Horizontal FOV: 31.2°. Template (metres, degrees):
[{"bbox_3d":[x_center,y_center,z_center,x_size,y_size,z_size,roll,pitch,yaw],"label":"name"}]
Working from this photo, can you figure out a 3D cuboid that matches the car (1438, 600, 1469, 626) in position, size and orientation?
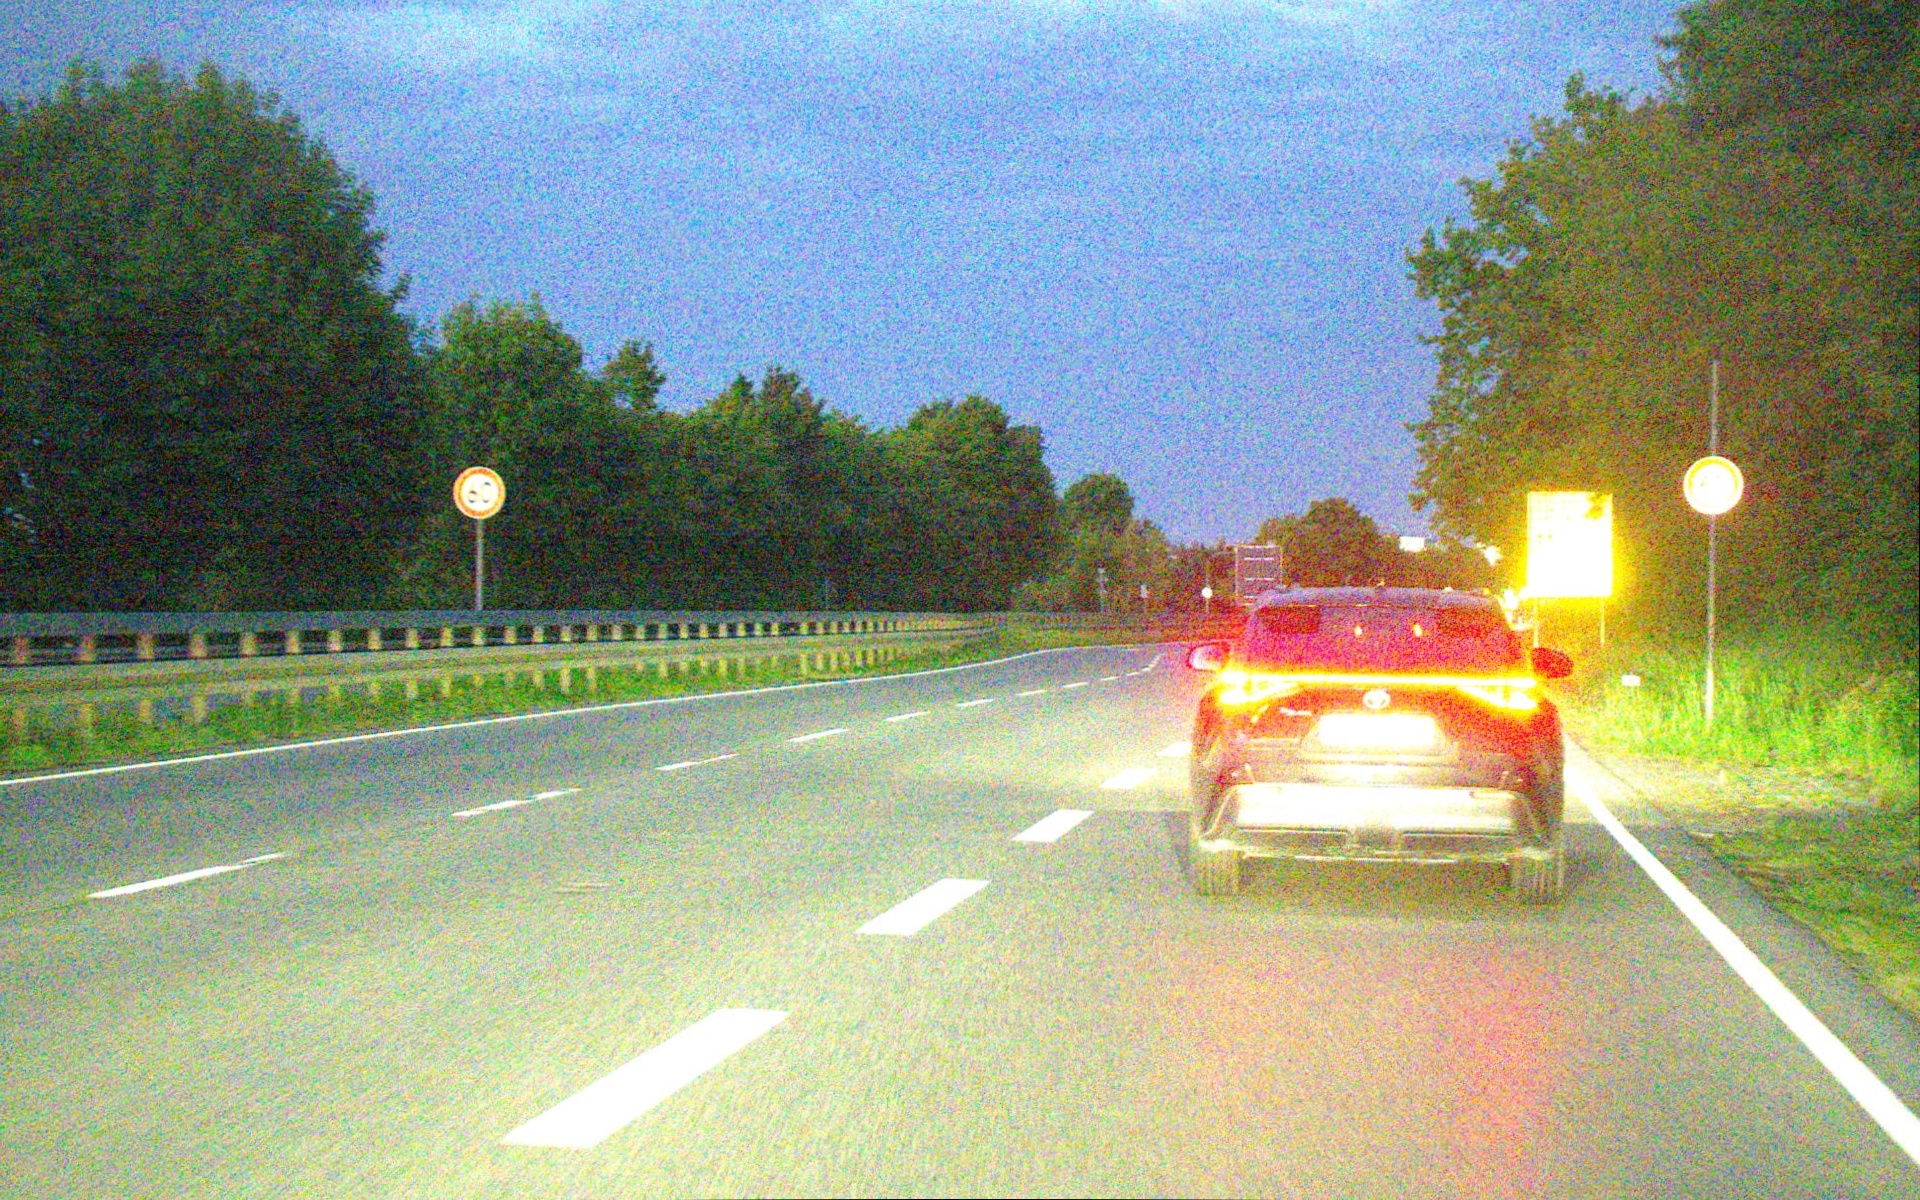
[{"bbox_3d":[35.507,0.939,247.458,1.994,1.744,3.998,-3,-2,10],"label":"car"}]

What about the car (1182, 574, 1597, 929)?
[{"bbox_3d":[2.248,0.708,18.563,1.901,1.614,4.555,2,0,6],"label":"car"}]

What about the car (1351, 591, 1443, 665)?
[{"bbox_3d":[8.868,0.551,69.536,1.753,1.448,4.431,0,0,8],"label":"car"}]
